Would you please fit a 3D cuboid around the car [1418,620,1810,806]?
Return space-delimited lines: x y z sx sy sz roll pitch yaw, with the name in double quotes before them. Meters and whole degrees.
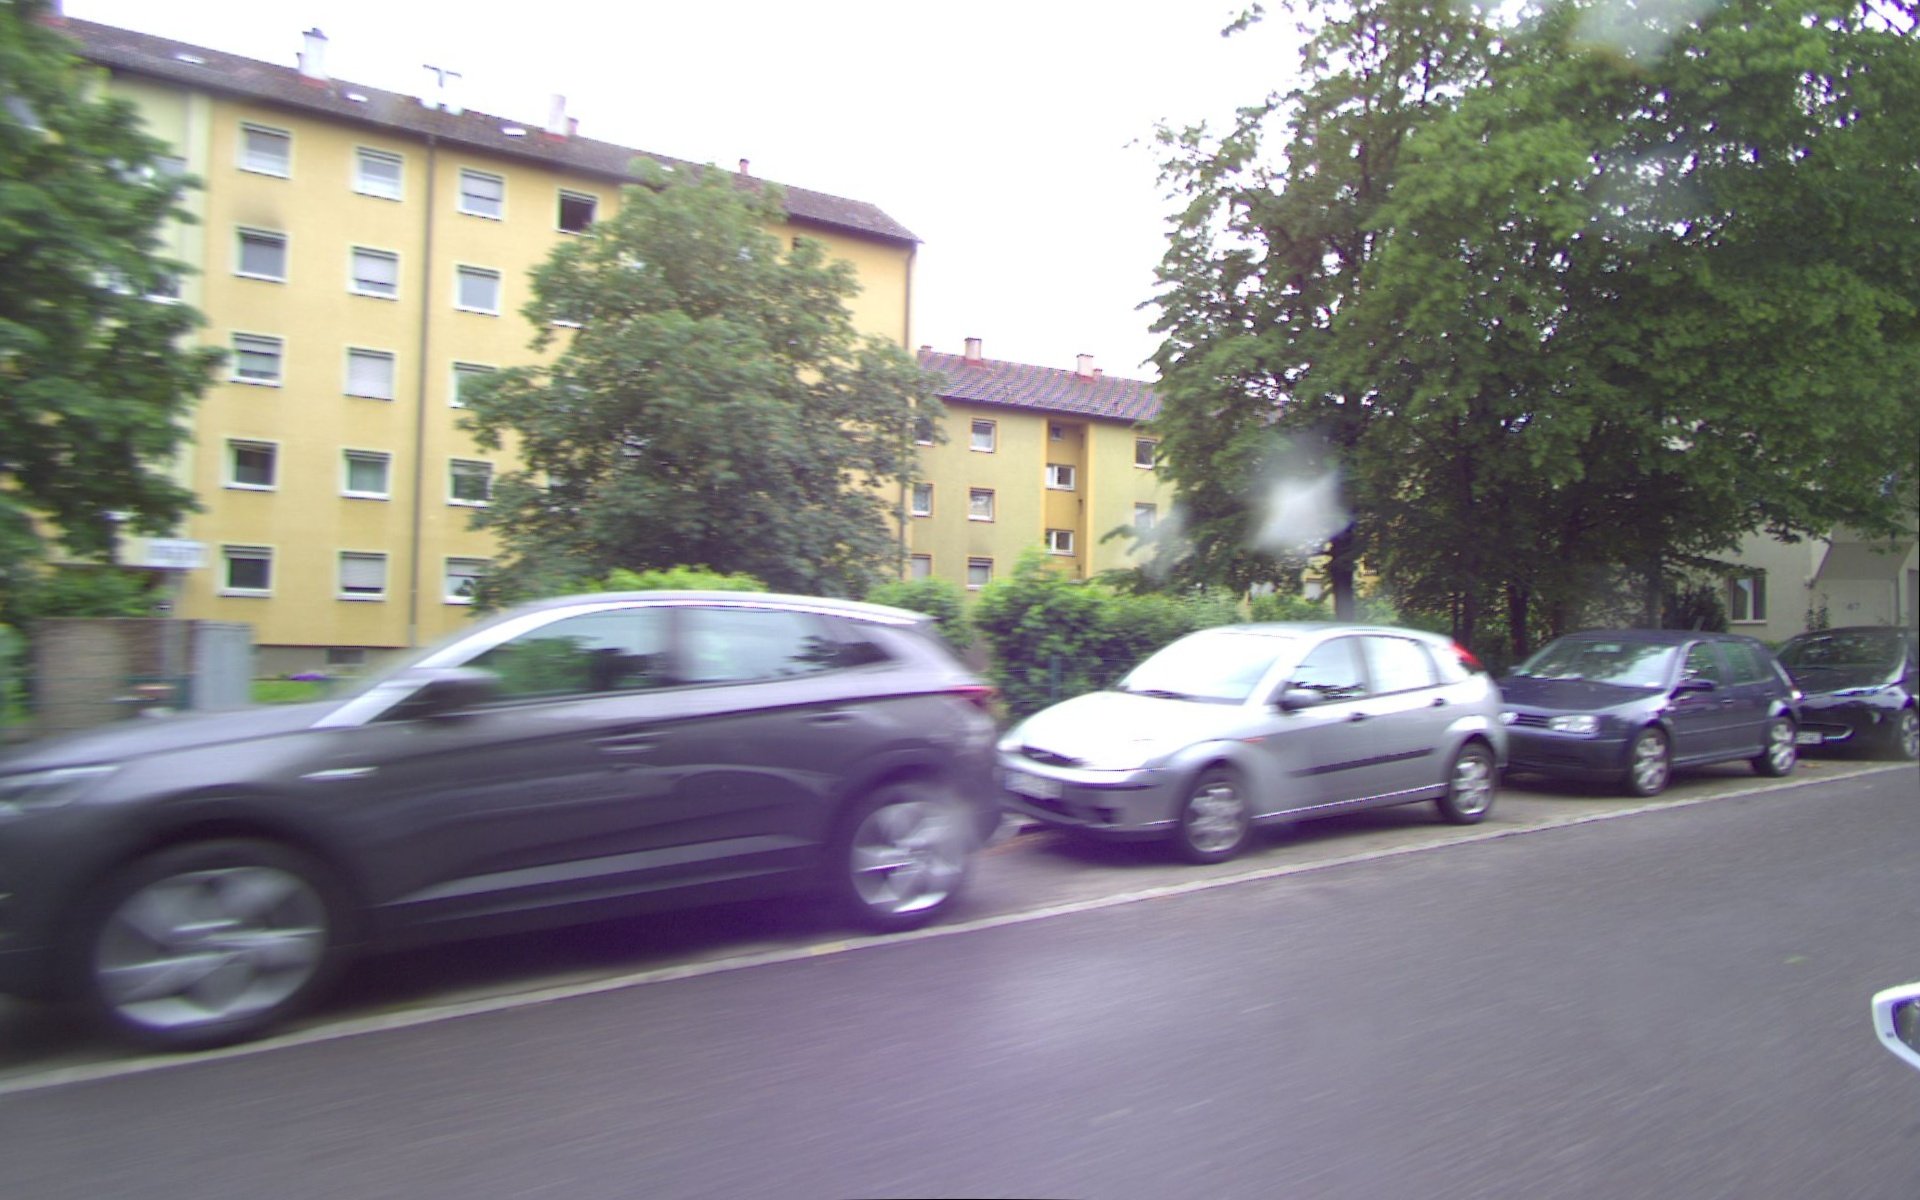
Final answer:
"car" 6.540 1.035 9.988 3.828 1.527 1.665 1 -5 -30

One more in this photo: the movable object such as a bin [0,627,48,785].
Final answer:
"movable object such as a bin" -9.389 0.936 9.023 1.461 1.398 1.231 1 -2 -28

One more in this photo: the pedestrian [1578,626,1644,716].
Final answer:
"pedestrian" 12.454 1.361 19.225 1.009 1.641 0.584 4 0 -29

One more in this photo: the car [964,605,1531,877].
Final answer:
"car" 2.210 0.850 7.441 4.073 1.528 1.664 1 0 -30

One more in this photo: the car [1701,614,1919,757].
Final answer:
"car" 11.294 1.046 12.698 3.972 1.557 1.640 1 -5 -31

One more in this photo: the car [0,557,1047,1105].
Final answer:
"car" -1.826 0.772 4.717 4.192 1.612 1.855 1 -4 -32
